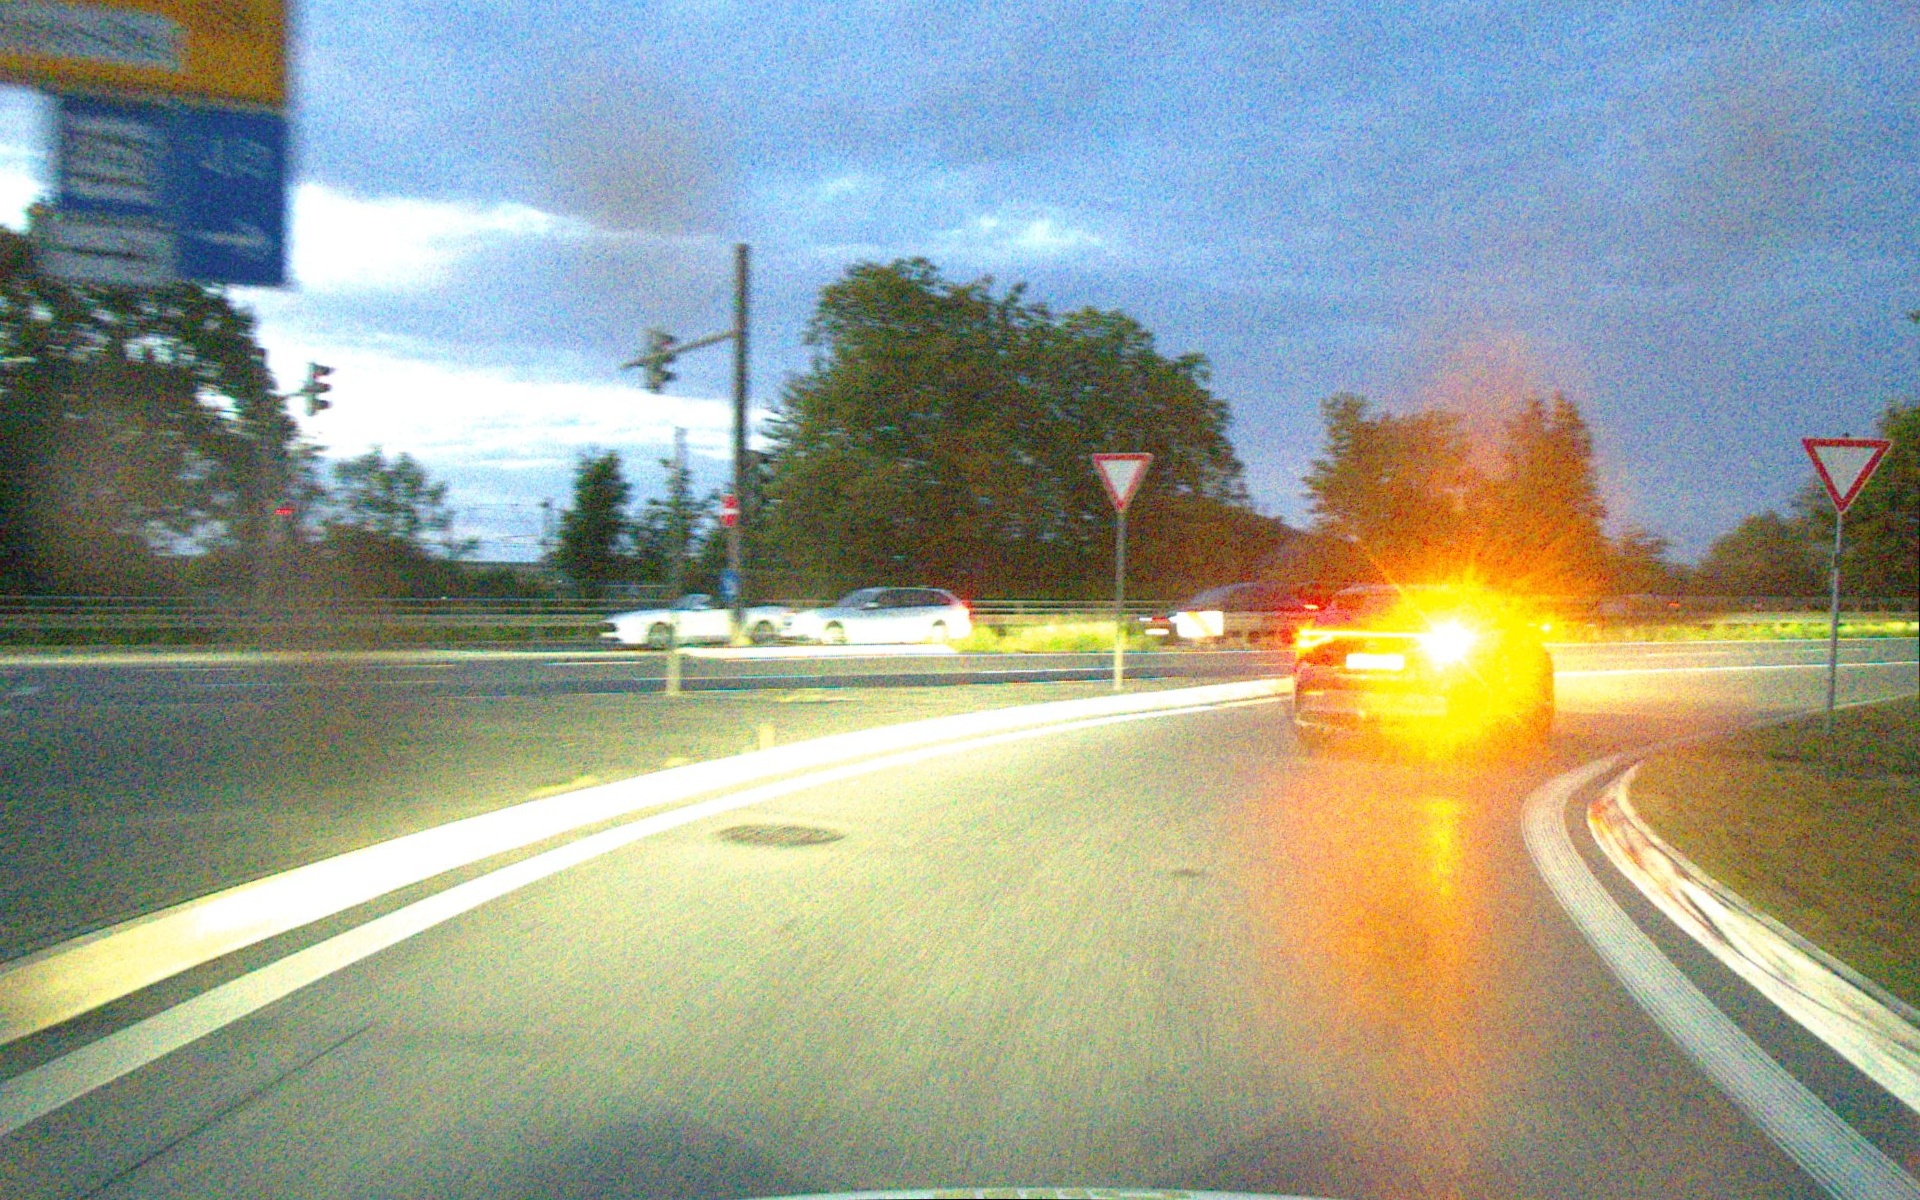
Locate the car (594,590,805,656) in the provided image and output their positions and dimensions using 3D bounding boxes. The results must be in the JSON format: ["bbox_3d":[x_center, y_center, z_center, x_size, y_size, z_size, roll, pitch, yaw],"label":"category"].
[{"bbox_3d":[-6.280,0.520,40.051,4.675,1.478,1.977,-1,0,-33],"label":"car"}]

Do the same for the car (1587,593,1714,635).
[{"bbox_3d":[25.268,0.488,60.463,4.673,1.478,1.978,0,0,-32],"label":"car"}]

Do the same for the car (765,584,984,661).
[{"bbox_3d":[-1.960,0.537,38.564,4.814,1.711,1.977,1,-1,-34],"label":"car"}]

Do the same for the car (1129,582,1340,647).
[{"bbox_3d":[6.631,0.333,39.801,4.980,1.478,1.979,0,-1,-32],"label":"car"}]

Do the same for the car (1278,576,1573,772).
[{"bbox_3d":[4.853,0.635,16.757,1.865,1.648,4.549,2,1,29],"label":"car"}]
